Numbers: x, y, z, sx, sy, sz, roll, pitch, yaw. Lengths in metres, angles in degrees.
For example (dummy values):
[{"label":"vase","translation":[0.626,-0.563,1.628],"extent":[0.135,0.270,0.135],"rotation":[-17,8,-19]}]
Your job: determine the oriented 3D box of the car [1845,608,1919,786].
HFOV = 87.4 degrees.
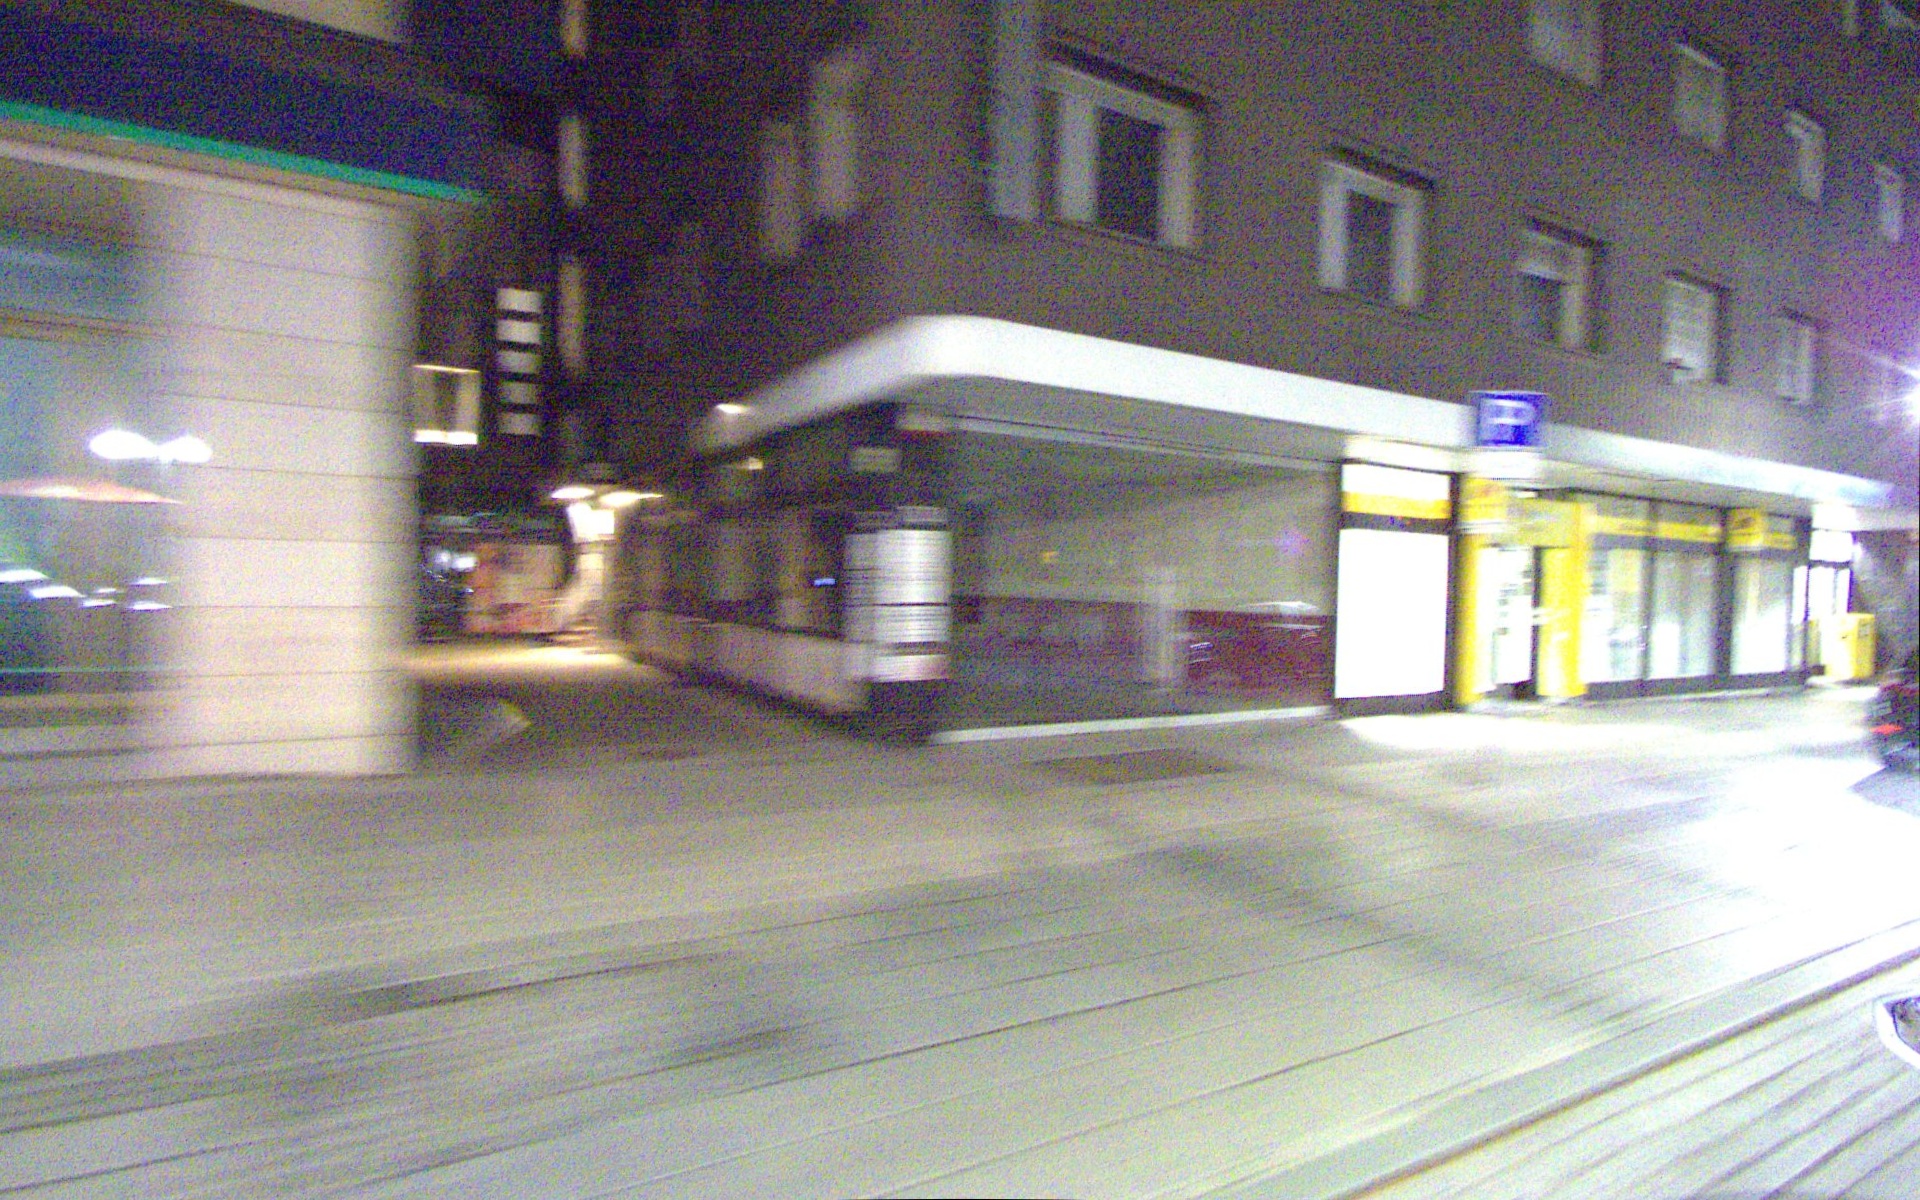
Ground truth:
[{"label":"car","translation":[10.257,0.915,9.373],"extent":[4.273,1.498,1.787],"rotation":[1,2,-32]}]
